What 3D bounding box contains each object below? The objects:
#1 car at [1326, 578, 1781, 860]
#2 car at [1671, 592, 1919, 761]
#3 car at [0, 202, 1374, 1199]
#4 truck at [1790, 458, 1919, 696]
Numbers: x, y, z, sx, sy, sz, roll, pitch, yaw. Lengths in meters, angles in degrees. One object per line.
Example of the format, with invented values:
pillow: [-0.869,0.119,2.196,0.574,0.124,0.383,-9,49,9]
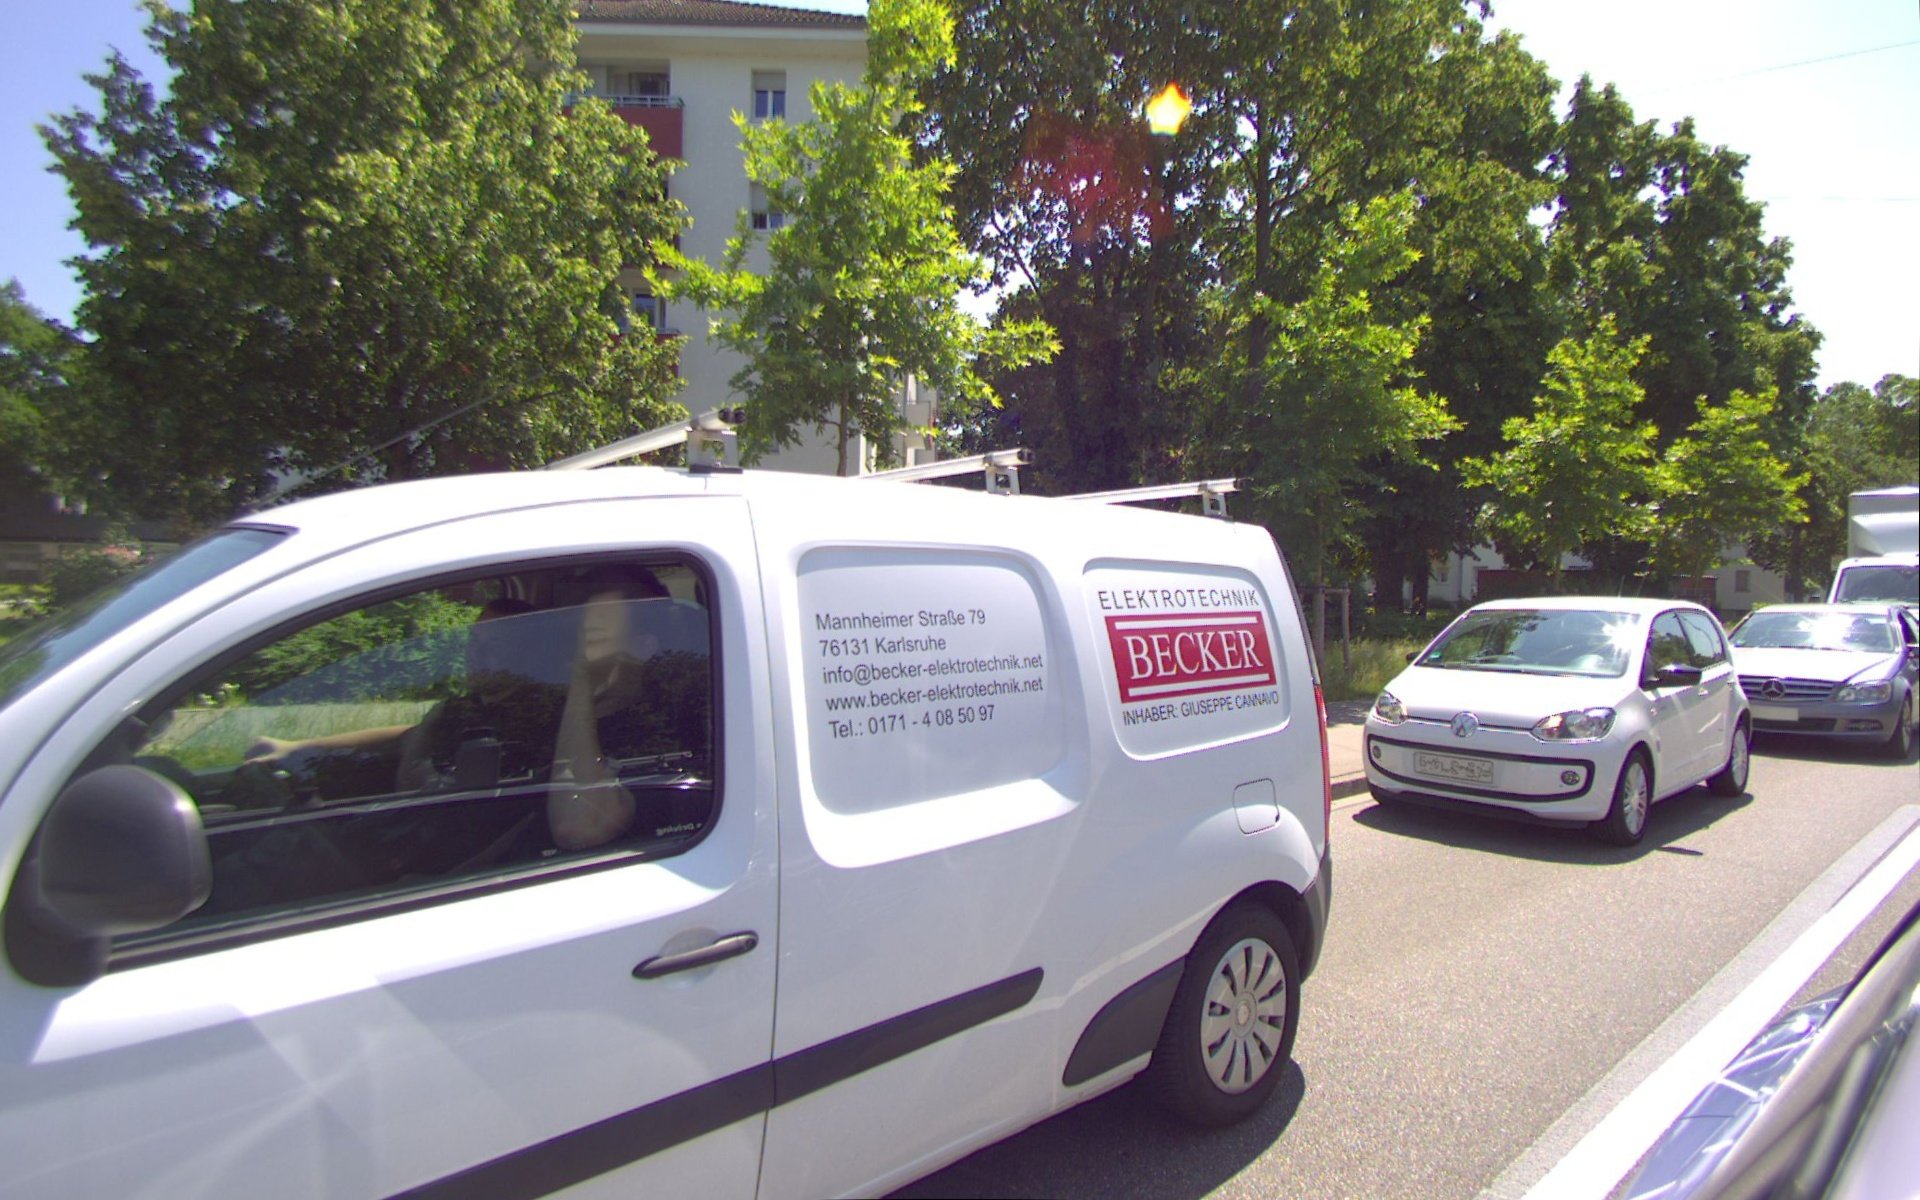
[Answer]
car: [4.400,0.620,7.294,3.705,1.497,1.729,0,1,-41]
car: [9.233,0.653,10.744,4.016,1.426,1.839,0,1,-41]
car: [-0.992,0.453,2.540,4.370,1.849,1.997,0,1,-41]
truck: [16.516,-0.339,16.980,7.778,3.387,2.434,0,1,-39]
